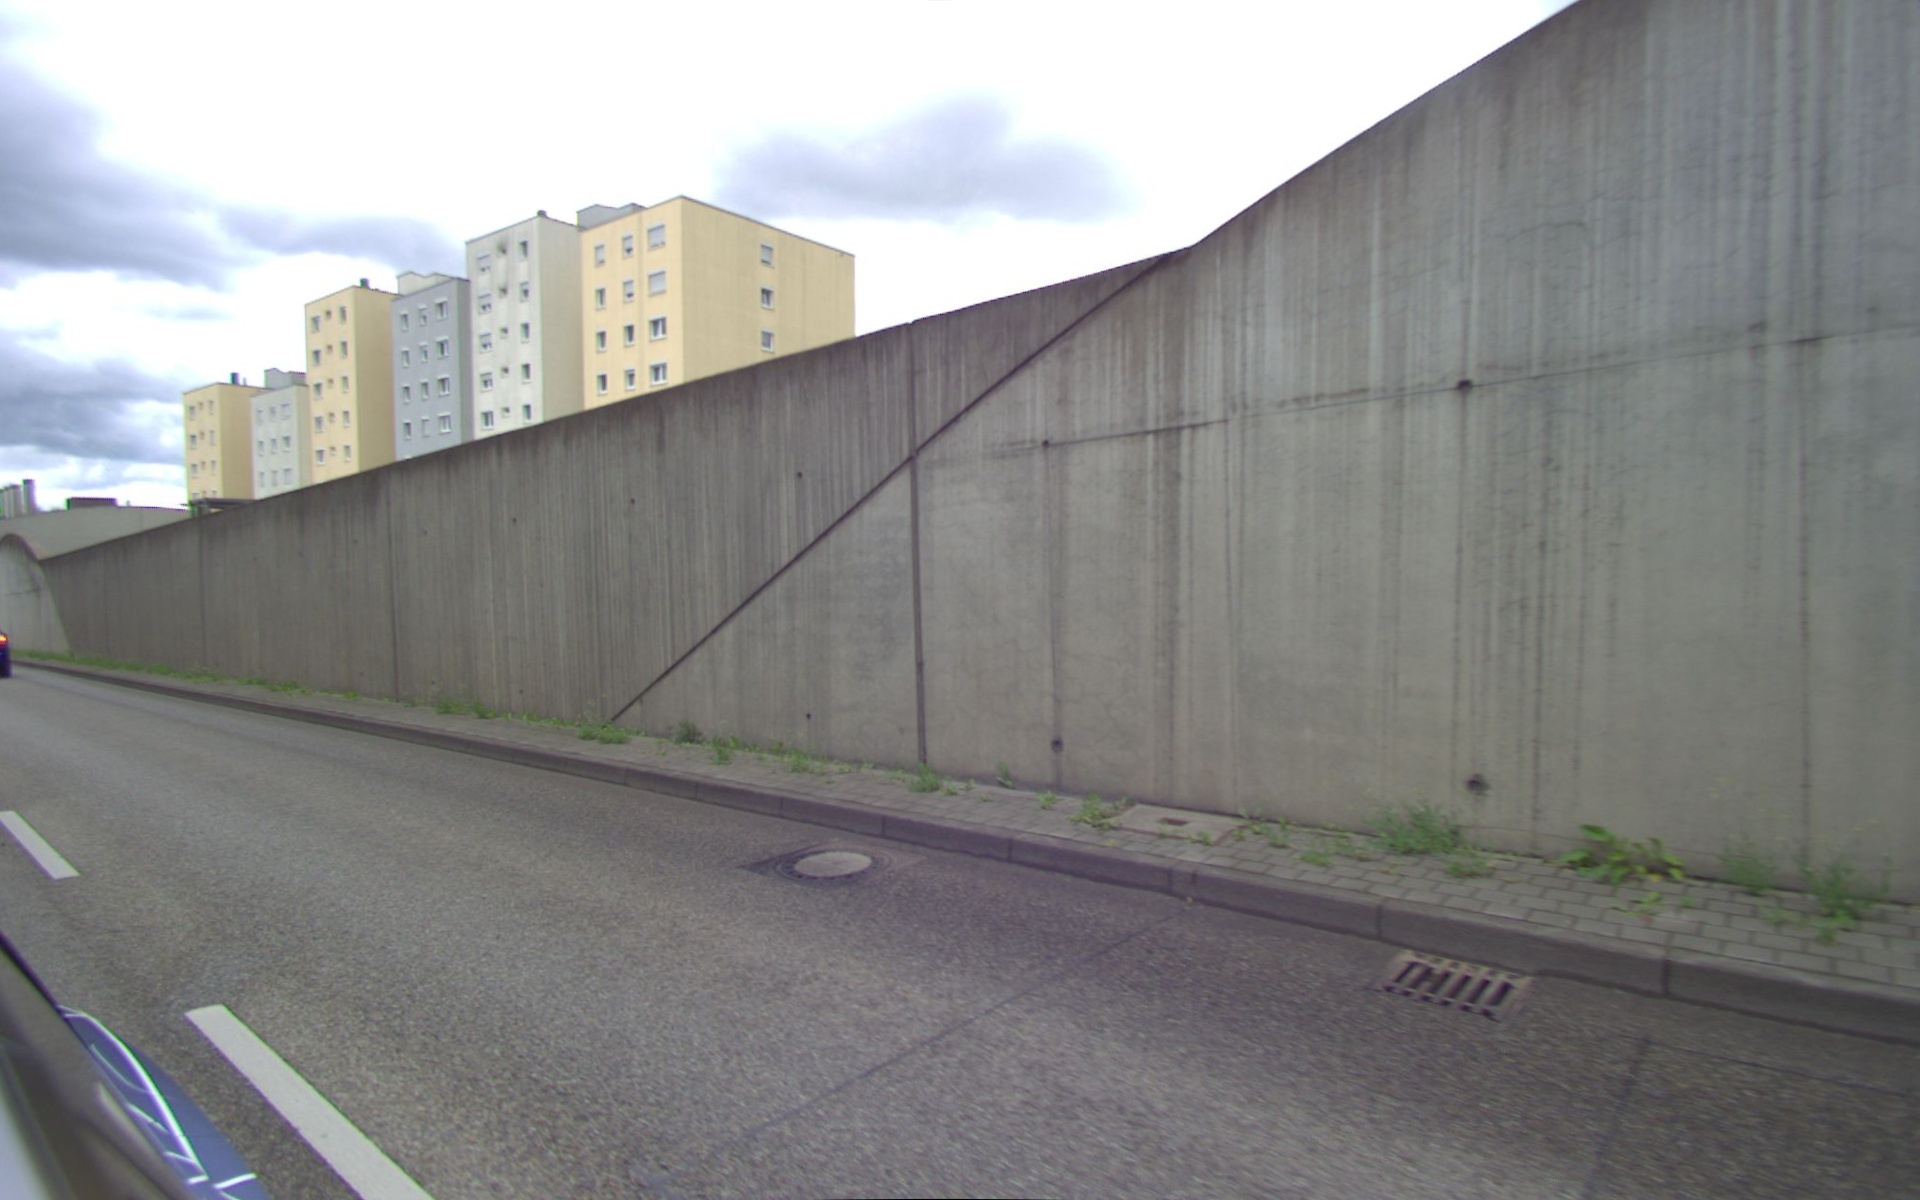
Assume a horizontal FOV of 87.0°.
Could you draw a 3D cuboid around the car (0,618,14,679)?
[{"bbox_3d":[-25.817,1.257,25.989,4.205,1.507,1.749,-1,0,41],"label":"car"}]
